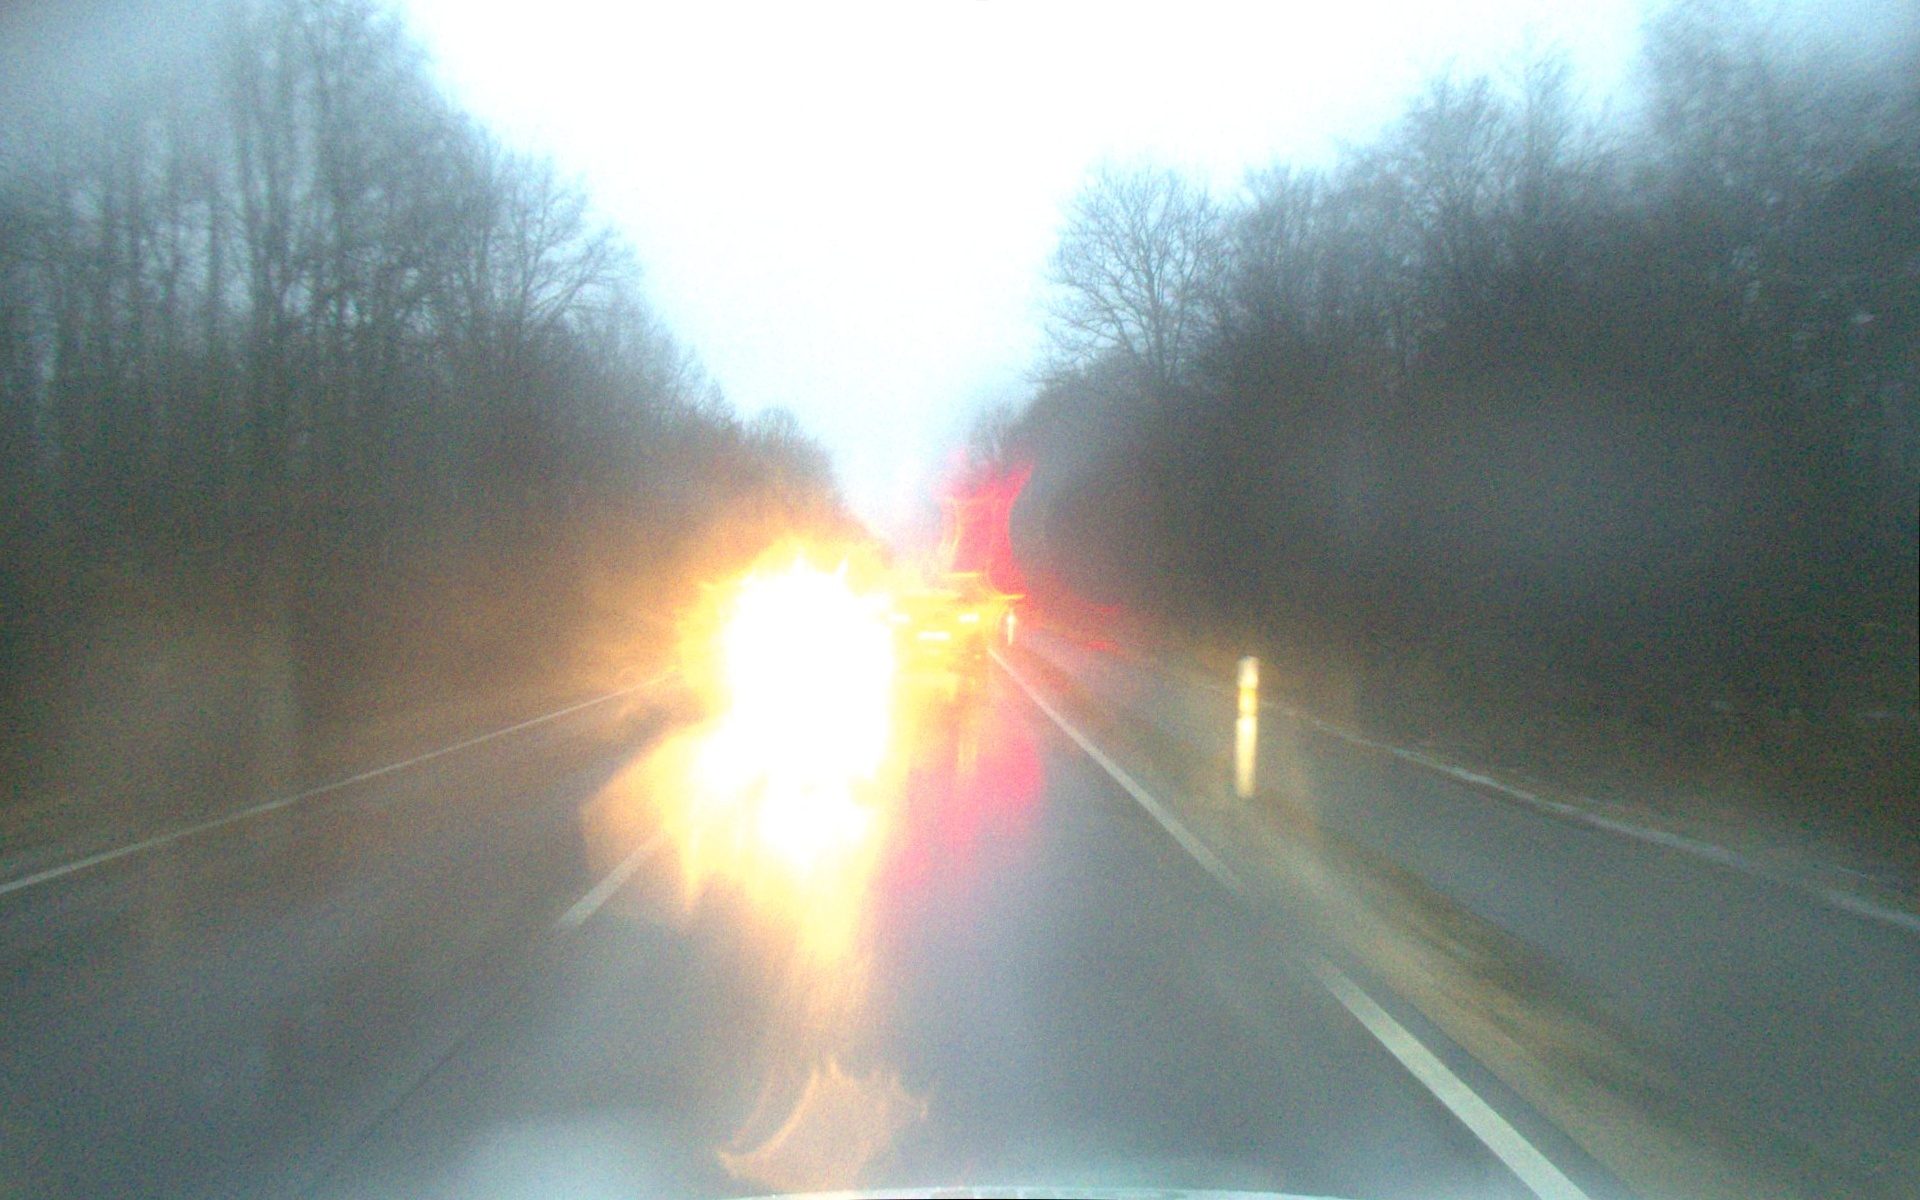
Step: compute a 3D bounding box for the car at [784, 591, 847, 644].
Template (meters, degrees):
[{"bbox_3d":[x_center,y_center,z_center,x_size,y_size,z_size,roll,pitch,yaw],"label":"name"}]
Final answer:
[{"bbox_3d":[-4.145,0.477,47.771,1.586,1.413,4.070,-1,0,-2],"label":"car"}]
